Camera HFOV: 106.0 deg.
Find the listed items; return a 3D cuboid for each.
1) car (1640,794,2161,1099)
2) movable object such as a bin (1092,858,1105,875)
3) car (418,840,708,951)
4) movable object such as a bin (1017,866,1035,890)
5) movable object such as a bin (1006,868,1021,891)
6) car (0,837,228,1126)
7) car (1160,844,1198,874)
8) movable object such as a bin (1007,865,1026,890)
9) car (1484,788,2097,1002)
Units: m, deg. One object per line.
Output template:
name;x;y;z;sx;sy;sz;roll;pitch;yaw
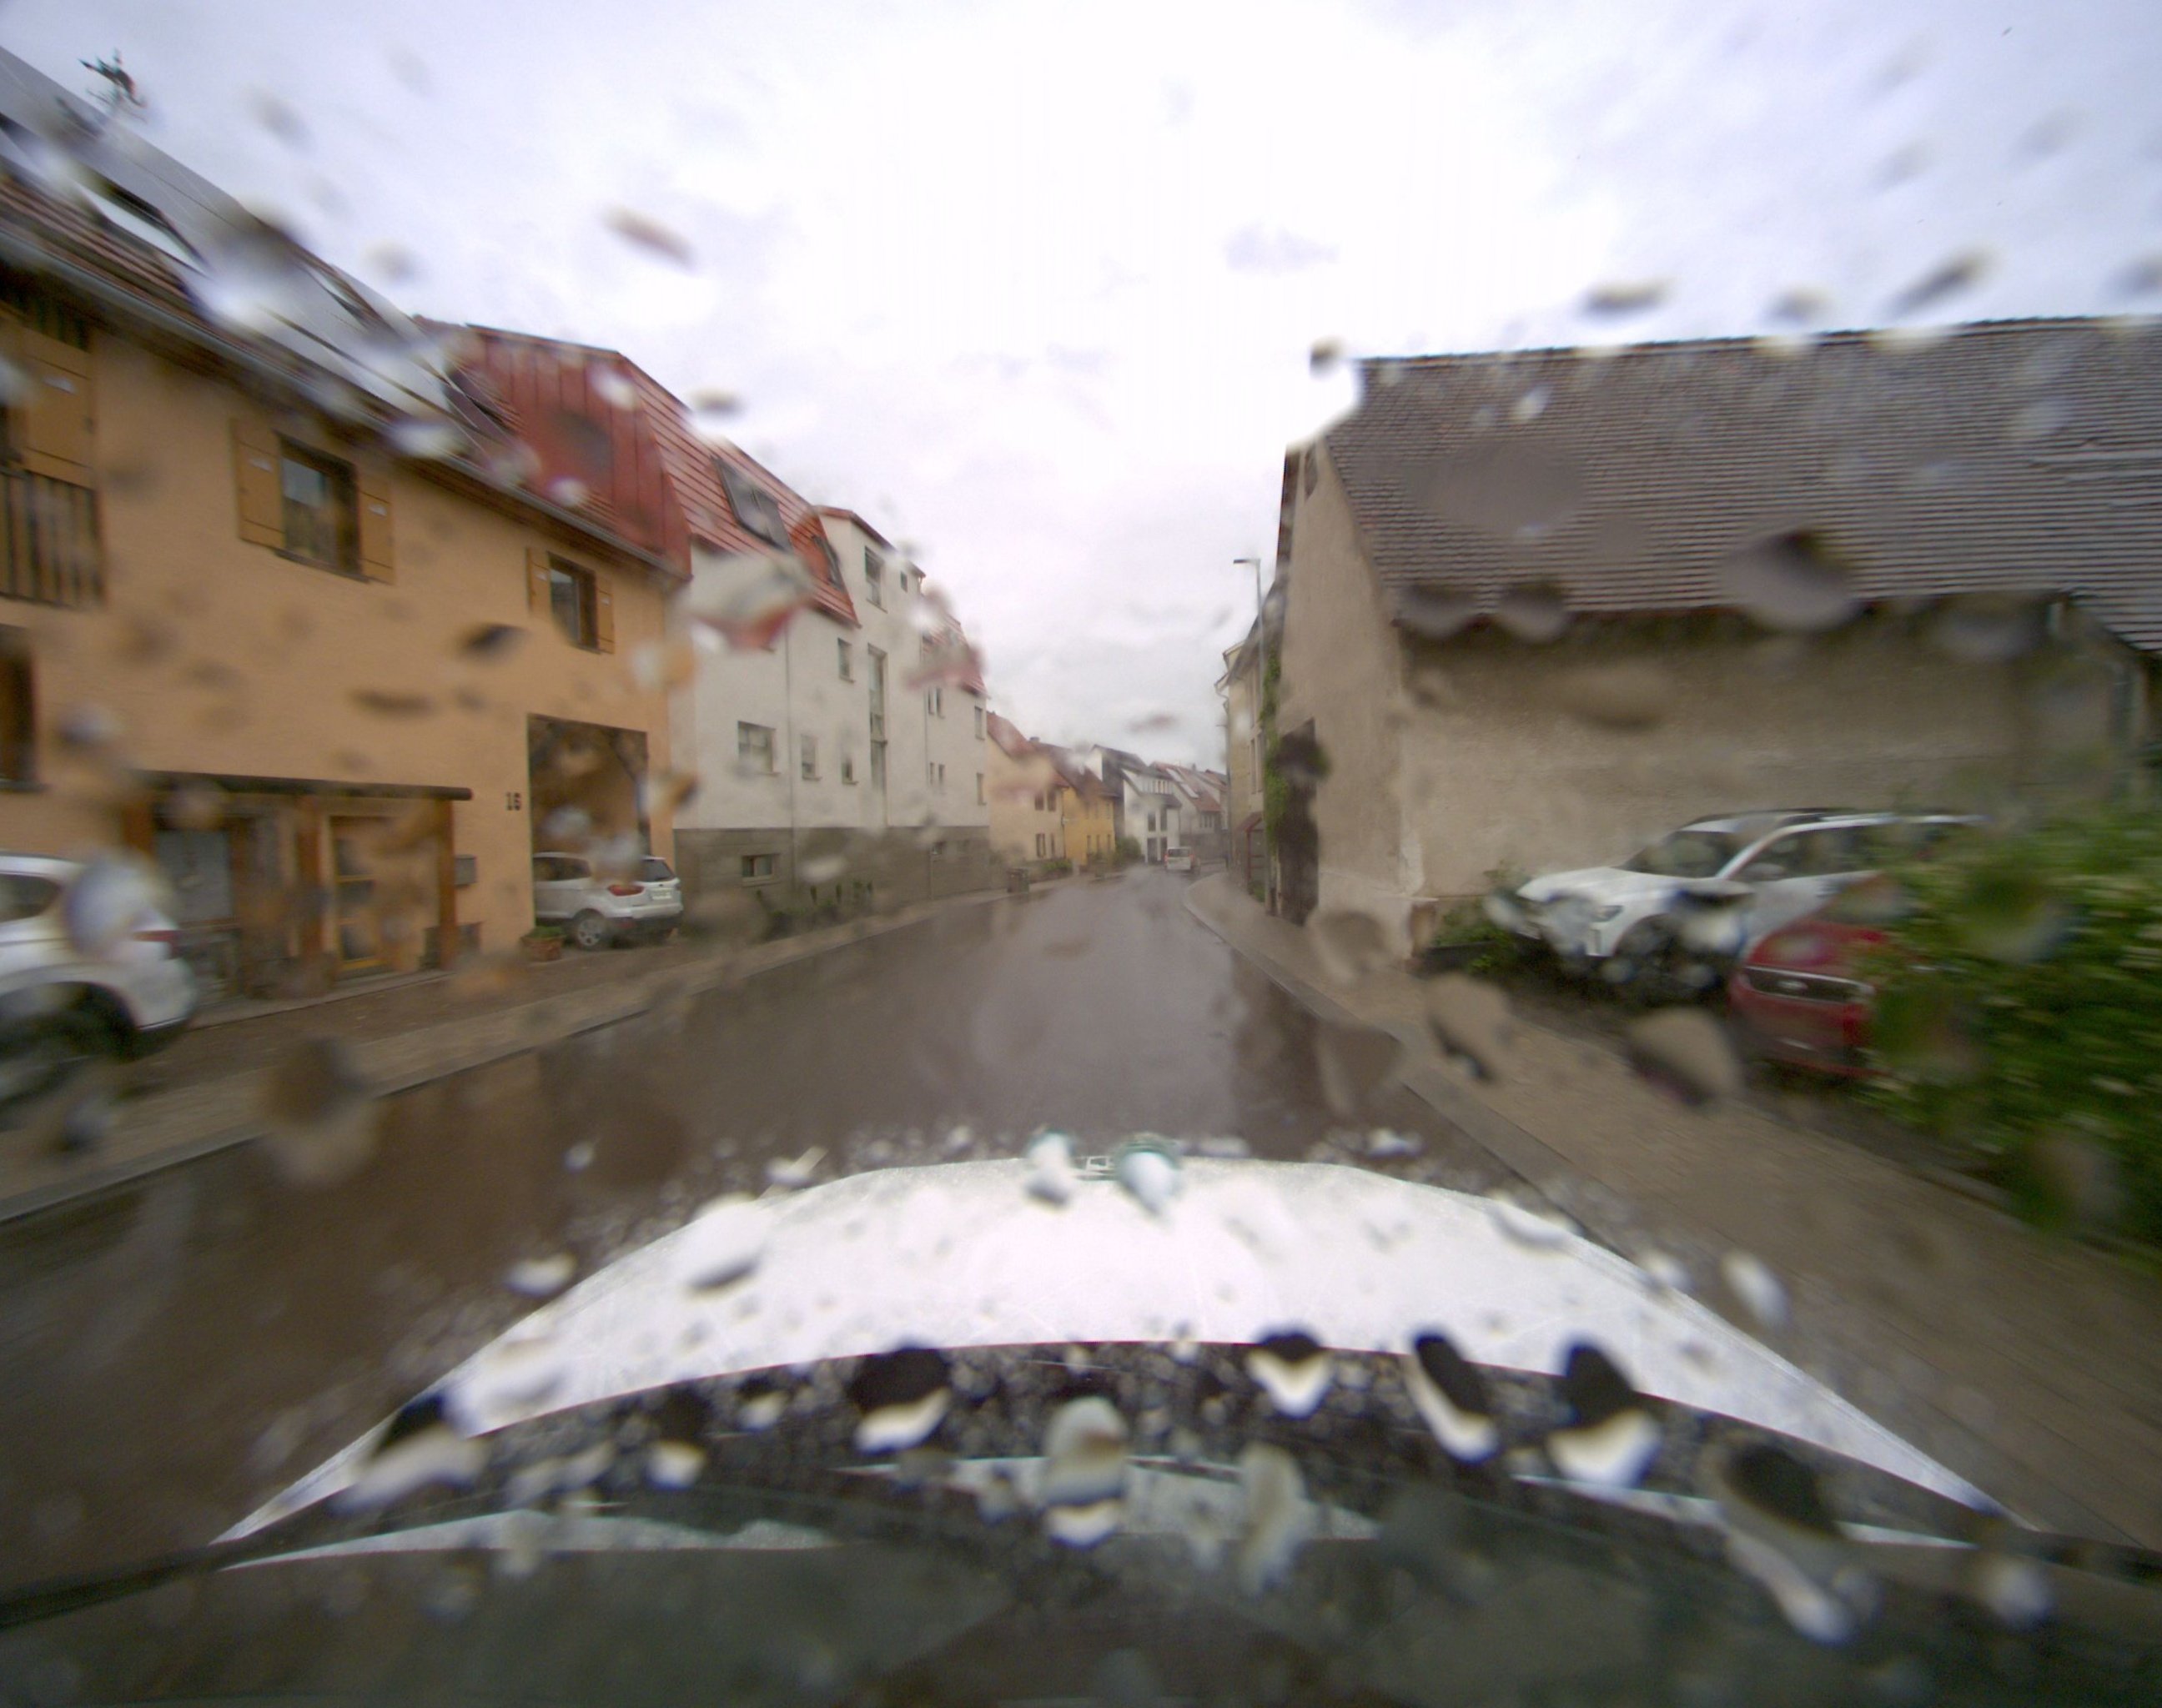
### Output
car;6.159;0.468;5.098;4.095;1.567;1.797;0;0;1
movable object such as a bin;1.139;0.778;52.609;0.655;1.056;0.766;1;1;13
car;-9.063;0.673;14.445;3.966;1.670;1.882;2;0;7
movable object such as a bin;-2.415;1.036;35.815;0.677;1.045;0.663;0;0;11
movable object such as a bin;-2.866;1.080;34.444;0.503;0.922;0.580;0;0;9
car;-7.428;0.779;3.750;1.804;1.706;4.626;-1;0;7
car;6.408;0.304;52.848;2.182;1.851;4.315;-2;0;9
movable object such as a bin;-2.783;1.009;35.261;0.677;1.066;0.697;0;0;11
car;6.557;0.369;8.007;4.197;1.649;1.905;-3;0;4
